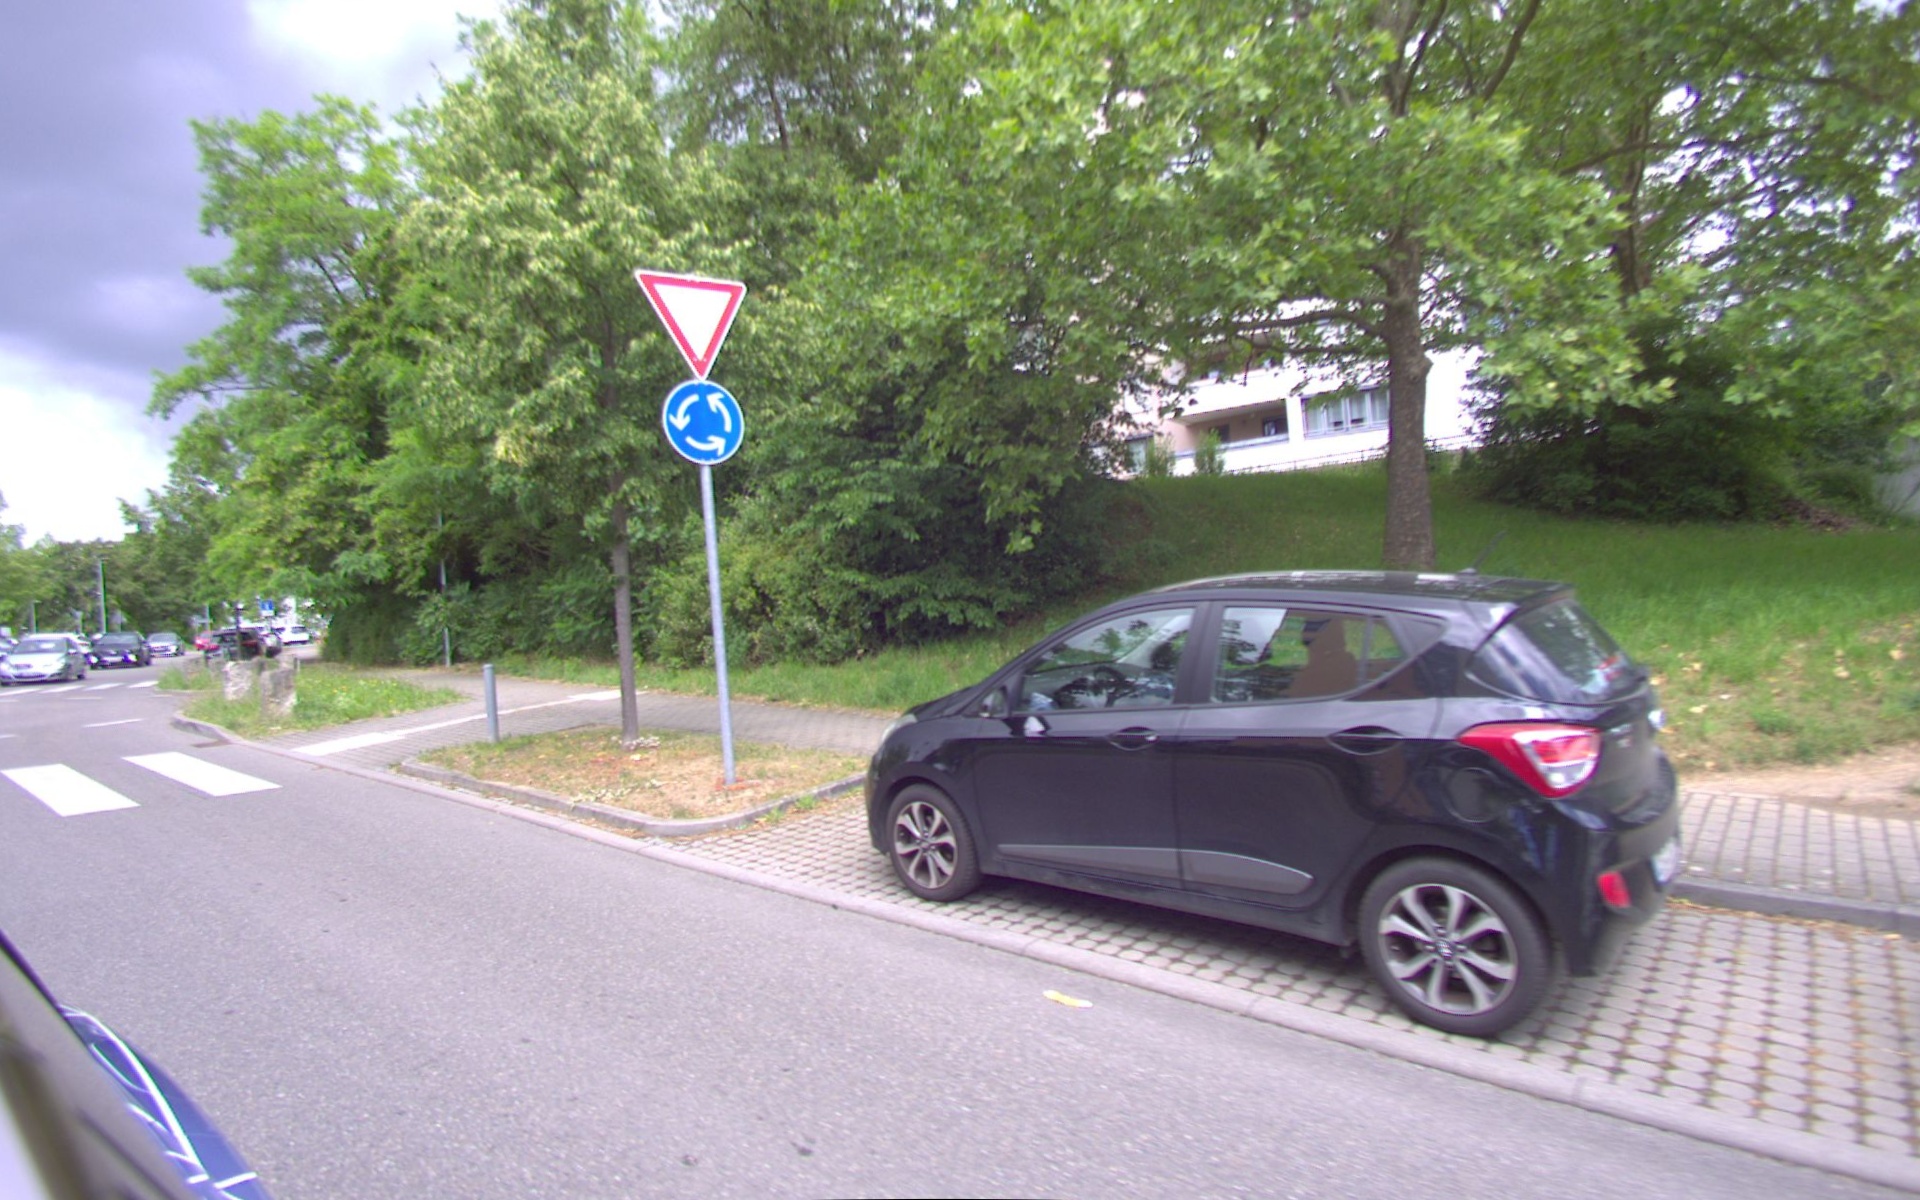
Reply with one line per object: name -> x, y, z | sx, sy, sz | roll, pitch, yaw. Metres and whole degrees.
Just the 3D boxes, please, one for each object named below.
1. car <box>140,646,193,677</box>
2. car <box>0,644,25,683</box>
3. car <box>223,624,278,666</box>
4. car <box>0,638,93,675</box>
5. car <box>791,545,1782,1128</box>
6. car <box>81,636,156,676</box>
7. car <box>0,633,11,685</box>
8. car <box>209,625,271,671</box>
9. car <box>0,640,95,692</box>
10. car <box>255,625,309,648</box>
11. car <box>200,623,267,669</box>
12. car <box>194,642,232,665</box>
car -> -48.214, 3.700, 61.582 | 1.730, 1.628, 4.013 | -3, 0, -27
car -> -40.167, 2.597, 40.472 | 3.772, 1.531, 1.917 | -1, -1, -33
car -> -33.581, 2.135, 48.001 | 1.783, 1.676, 4.449 | -6, 1, -32
car -> -45.654, 2.814, 50.273 | 3.619, 1.659, 1.857 | -1, -1, -30
car -> 1.076, 0.613, 4.703 | 1.764, 1.479, 4.005 | -4, 2, -41
car -> -38.285, 2.515, 46.150 | 1.730, 1.628, 4.013 | -3, 0, -27
car -> -37.133, 2.183, 35.965 | 4.710, 1.845, 1.847 | -1, -2, -35
car -> -30.526, 1.991, 43.002 | 1.775, 1.627, 4.491 | -6, 2, -32
car -> -31.139, 2.203, 34.377 | 1.730, 1.527, 4.013 | -3, 0, -27
car -> -56.827, 3.045, 84.851 | 3.968, 1.652, 1.662 | -4, -1, 19
car -> -27.512, 1.735, 38.432 | 1.667, 1.475, 4.469 | -6, 1, -32
car -> -58.409, 4.185, 79.209 | 1.730, 1.628, 4.013 | -3, 0, -27
